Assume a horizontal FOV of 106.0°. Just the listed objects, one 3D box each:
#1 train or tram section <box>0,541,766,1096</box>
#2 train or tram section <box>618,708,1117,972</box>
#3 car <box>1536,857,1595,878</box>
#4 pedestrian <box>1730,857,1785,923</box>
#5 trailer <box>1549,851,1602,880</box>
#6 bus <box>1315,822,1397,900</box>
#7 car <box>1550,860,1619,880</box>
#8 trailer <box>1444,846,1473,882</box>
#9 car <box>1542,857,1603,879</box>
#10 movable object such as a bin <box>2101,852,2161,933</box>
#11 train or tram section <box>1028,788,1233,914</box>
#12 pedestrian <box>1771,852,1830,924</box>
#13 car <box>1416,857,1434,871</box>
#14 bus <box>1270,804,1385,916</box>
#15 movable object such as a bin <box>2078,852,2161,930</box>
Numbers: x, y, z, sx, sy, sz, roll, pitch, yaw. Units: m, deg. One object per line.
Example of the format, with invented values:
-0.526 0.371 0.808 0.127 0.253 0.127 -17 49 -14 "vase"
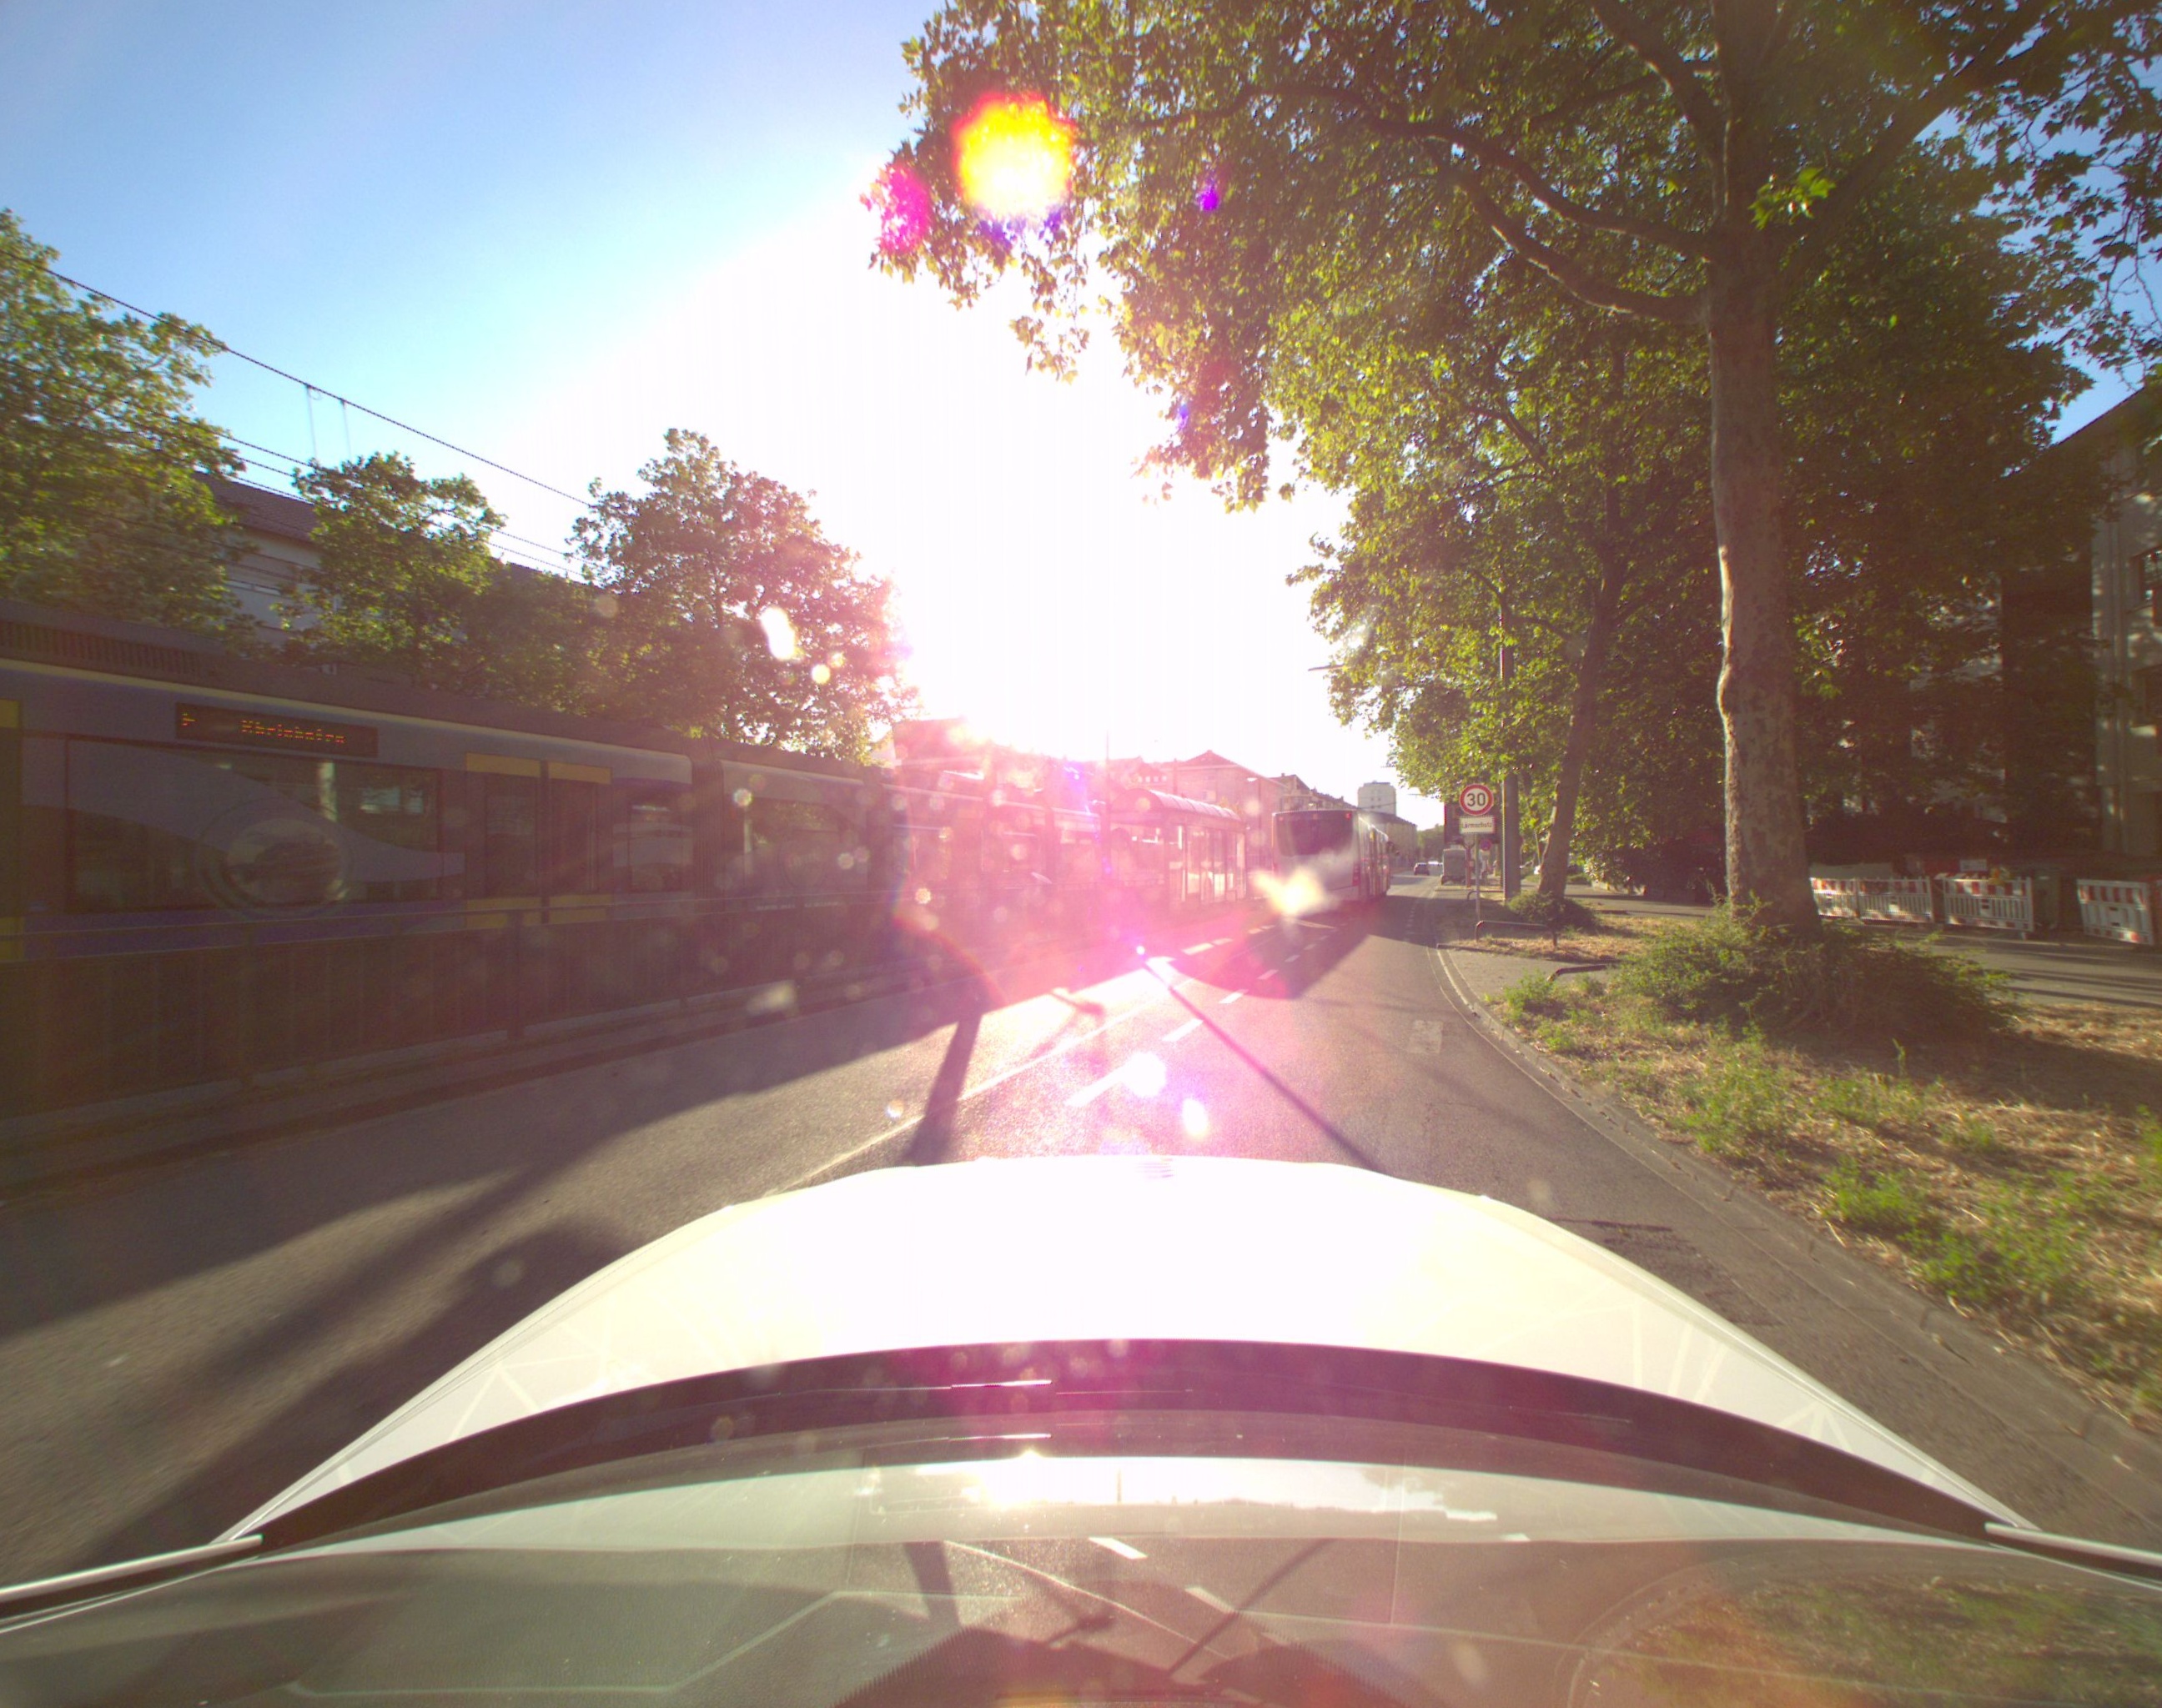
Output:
-8.325 -0.211 5.396 2.824 3.533 13.472 -1 -1 25 "train or tram section"
-2.935 -0.121 17.339 2.704 3.549 12.857 -1 -1 25 "train or tram section"
38.804 1.079 65.271 3.885 1.637 1.716 -1 -1 24 "car"
16.385 0.858 19.743 0.783 1.572 0.820 -1 -1 20 "pedestrian"
35.388 0.818 58.387 3.036 2.070 1.889 -1 -1 26 "trailer"
12.761 0.326 37.210 2.684 3.107 9.030 -1 -1 24 "bus"
34.449 1.097 55.840 3.884 1.336 1.716 -1 -1 25 "car"
27.269 0.724 58.875 1.816 2.558 3.337 -2 -1 24 "trailer"
37.974 1.089 63.038 3.885 1.636 1.716 -1 -1 24 "car"
19.666 0.689 14.807 1.282 1.434 0.845 -1 -1 44 "movable object such as a bin"
2.471 -0.008 29.240 2.616 3.519 13.409 -1 -1 25 "train or tram section"
17.181 0.796 19.469 0.783 1.667 0.820 -1 -1 20 "pedestrian"
44.530 1.259 105.345 1.975 1.816 4.023 -1 -1 25 "car"
8.847 0.203 28.164 2.709 3.139 10.761 -1 -1 23 "bus"
20.235 0.692 15.673 0.844 1.434 1.283 0 -1 -39 "movable object such as a bin"
